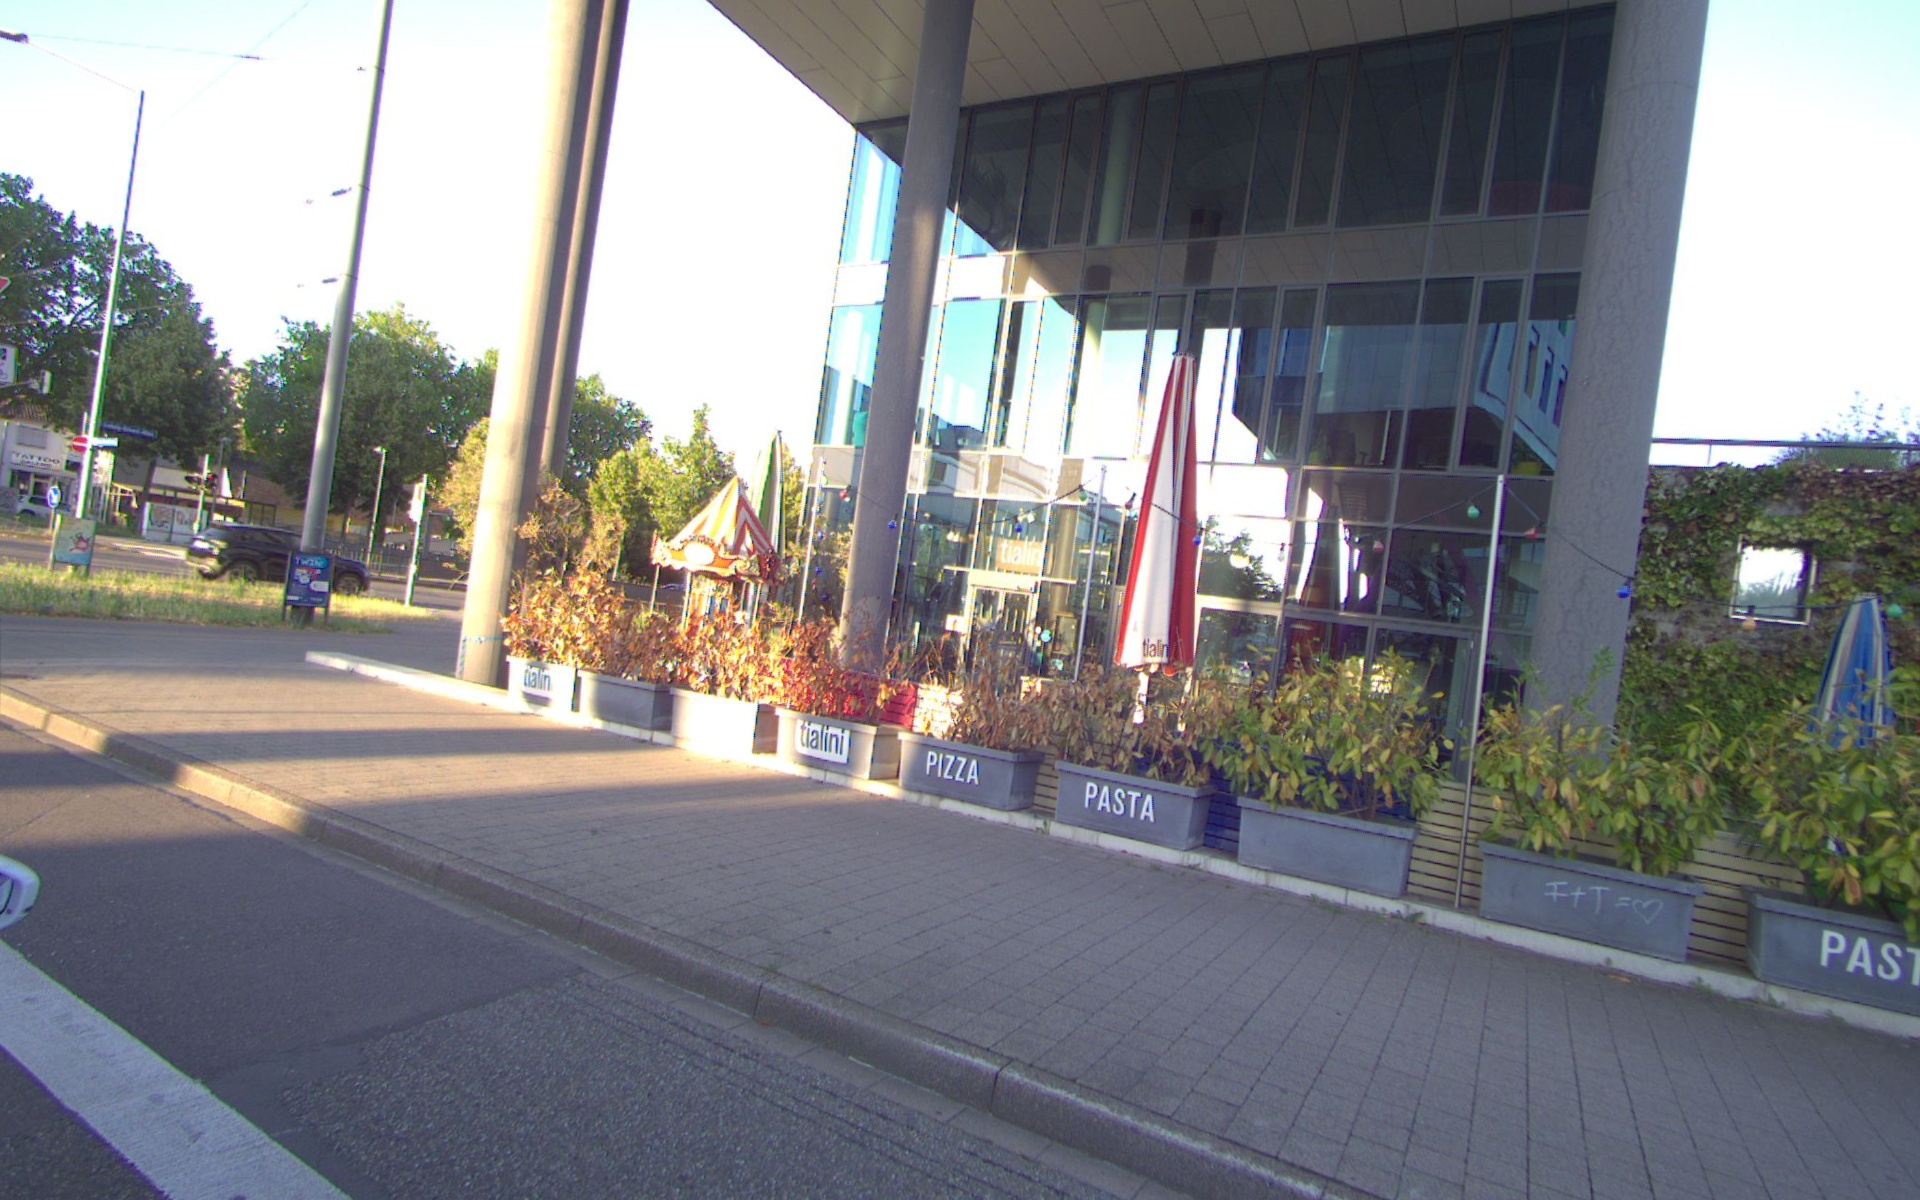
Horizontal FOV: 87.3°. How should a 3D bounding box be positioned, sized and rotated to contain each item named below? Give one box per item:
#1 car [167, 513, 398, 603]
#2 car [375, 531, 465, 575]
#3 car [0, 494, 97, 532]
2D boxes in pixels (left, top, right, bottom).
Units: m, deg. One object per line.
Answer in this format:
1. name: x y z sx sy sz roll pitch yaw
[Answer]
1. car: -17.354 -1.026 26.010 1.966 1.592 4.445 7 -2 29
2. car: -42.621 -3.684 79.517 2.197 2.581 5.594 7 -2 39
3. car: -50.530 -4.792 55.796 1.641 1.456 3.736 6 -2 41
